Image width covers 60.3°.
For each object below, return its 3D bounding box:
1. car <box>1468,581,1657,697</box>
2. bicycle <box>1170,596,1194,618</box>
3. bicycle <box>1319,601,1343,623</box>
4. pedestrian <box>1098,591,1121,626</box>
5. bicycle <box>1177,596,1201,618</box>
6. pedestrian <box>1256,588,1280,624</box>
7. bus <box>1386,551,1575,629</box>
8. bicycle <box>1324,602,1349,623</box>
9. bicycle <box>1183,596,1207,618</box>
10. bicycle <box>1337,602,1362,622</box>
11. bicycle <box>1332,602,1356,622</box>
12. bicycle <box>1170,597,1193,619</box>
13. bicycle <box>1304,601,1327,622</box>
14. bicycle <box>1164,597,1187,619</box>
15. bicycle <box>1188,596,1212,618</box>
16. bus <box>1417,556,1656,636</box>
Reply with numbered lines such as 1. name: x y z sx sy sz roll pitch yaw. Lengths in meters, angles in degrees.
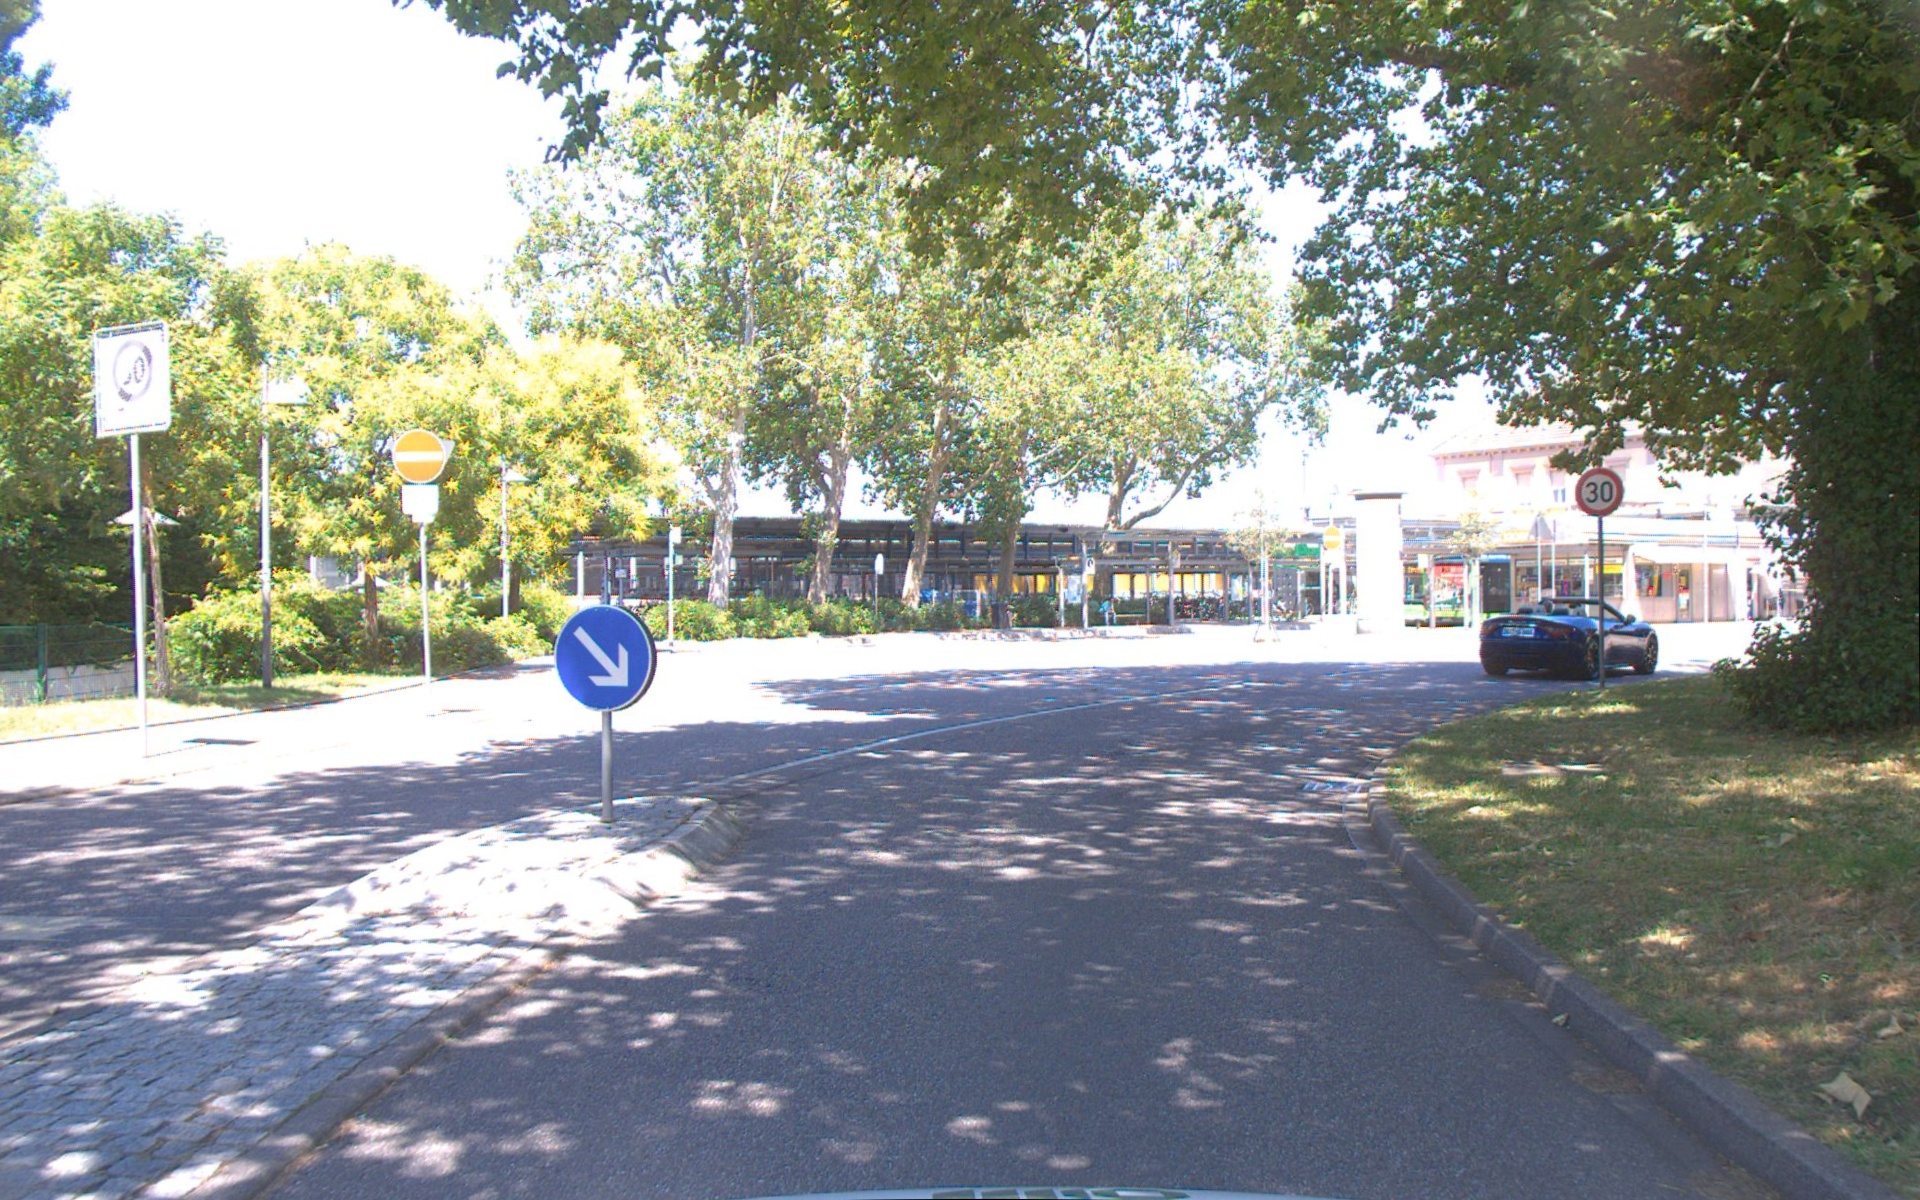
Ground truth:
1. car: 10.599 0.619 28.955 2.089 1.881 4.032 0 0 36
2. bicycle: 11.268 0.360 83.953 0.382 1.113 1.368 1 -2 -36
3. bicycle: 19.807 0.641 88.378 0.363 1.119 1.389 -1 0 -34
4. pedestrian: 6.412 0.366 70.890 0.814 1.489 0.598 -1 0 -40
5. bicycle: 11.634 0.368 84.208 0.382 1.113 1.368 1 -2 -35
6. pedestrian: 14.287 0.270 76.711 0.805 1.645 0.766 -1 0 35
7. bus: 25.456 -0.540 80.408 12.091 3.588 2.141 -1 0 -37
8. bicycle: 20.171 0.651 88.662 0.382 1.113 1.369 -1 0 -34
9. bicycle: 11.975 0.376 84.423 0.382 1.113 1.369 1 -2 -34
10. bicycle: 21.008 0.653 89.257 0.382 1.113 1.369 -1 0 -34
11. bicycle: 20.659 0.647 89.003 0.382 1.113 1.369 -1 0 -34
12. bicycle: 11.495 0.404 85.855 0.382 1.113 1.369 1 -2 -34
13. bicycle: 19.427 0.640 90.365 0.381 1.113 1.370 -1 0 -33
14. bicycle: 11.162 0.396 85.592 0.382 1.113 1.369 1 -2 -34
15. bicycle: 12.302 0.383 84.672 0.382 1.113 1.369 1 -2 -34
16. bus: 24.626 -0.176 69.981 13.753 3.094 2.646 0 -1 -39
